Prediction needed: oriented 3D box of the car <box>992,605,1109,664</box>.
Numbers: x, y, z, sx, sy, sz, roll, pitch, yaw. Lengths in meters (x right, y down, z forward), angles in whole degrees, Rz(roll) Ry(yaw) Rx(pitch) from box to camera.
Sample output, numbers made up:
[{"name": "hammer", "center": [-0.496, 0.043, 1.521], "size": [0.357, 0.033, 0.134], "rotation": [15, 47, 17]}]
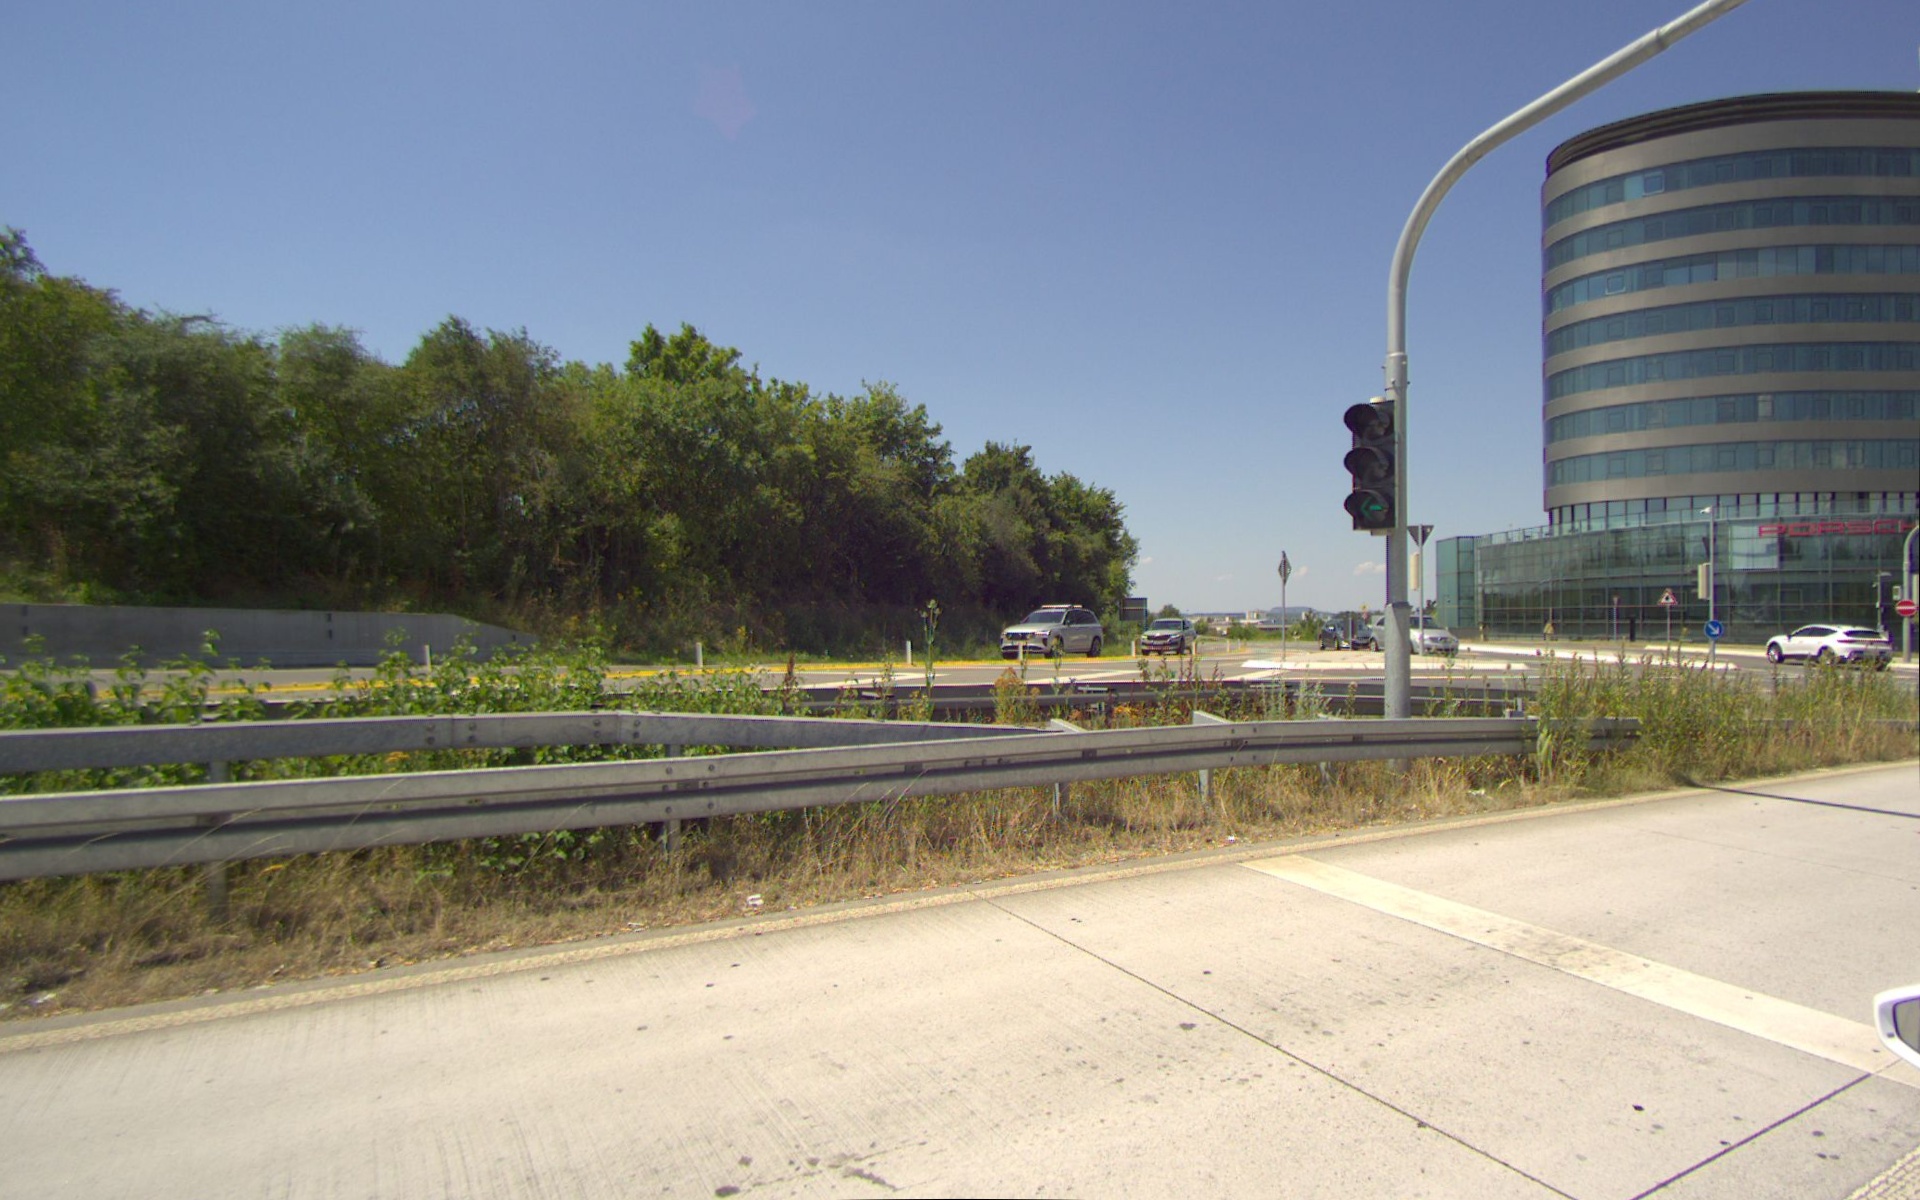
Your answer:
[{"name": "car", "center": [3.128, 1.122, 33.740], "size": [1.965, 1.796, 4.847], "rotation": [1, -1, 31]}]

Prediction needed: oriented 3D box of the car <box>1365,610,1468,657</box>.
[{"name": "car", "center": [17.351, 1.286, 38.400], "size": [1.743, 1.616, 4.328], "rotation": [2, -2, -4]}]

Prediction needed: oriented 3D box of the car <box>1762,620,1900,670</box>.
[{"name": "car", "center": [31.084, 1.570, 36.008], "size": [1.771, 1.577, 4.002], "rotation": [2, 0, 7]}]

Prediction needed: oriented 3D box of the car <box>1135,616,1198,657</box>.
[{"name": "car", "center": [9.521, 1.645, 46.036], "size": [1.961, 1.715, 4.655], "rotation": [1, -1, 23]}]

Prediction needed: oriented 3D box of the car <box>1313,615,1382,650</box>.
[{"name": "car", "center": [17.696, 1.529, 46.086], "size": [1.663, 1.475, 4.332], "rotation": [2, -2, 3]}]
